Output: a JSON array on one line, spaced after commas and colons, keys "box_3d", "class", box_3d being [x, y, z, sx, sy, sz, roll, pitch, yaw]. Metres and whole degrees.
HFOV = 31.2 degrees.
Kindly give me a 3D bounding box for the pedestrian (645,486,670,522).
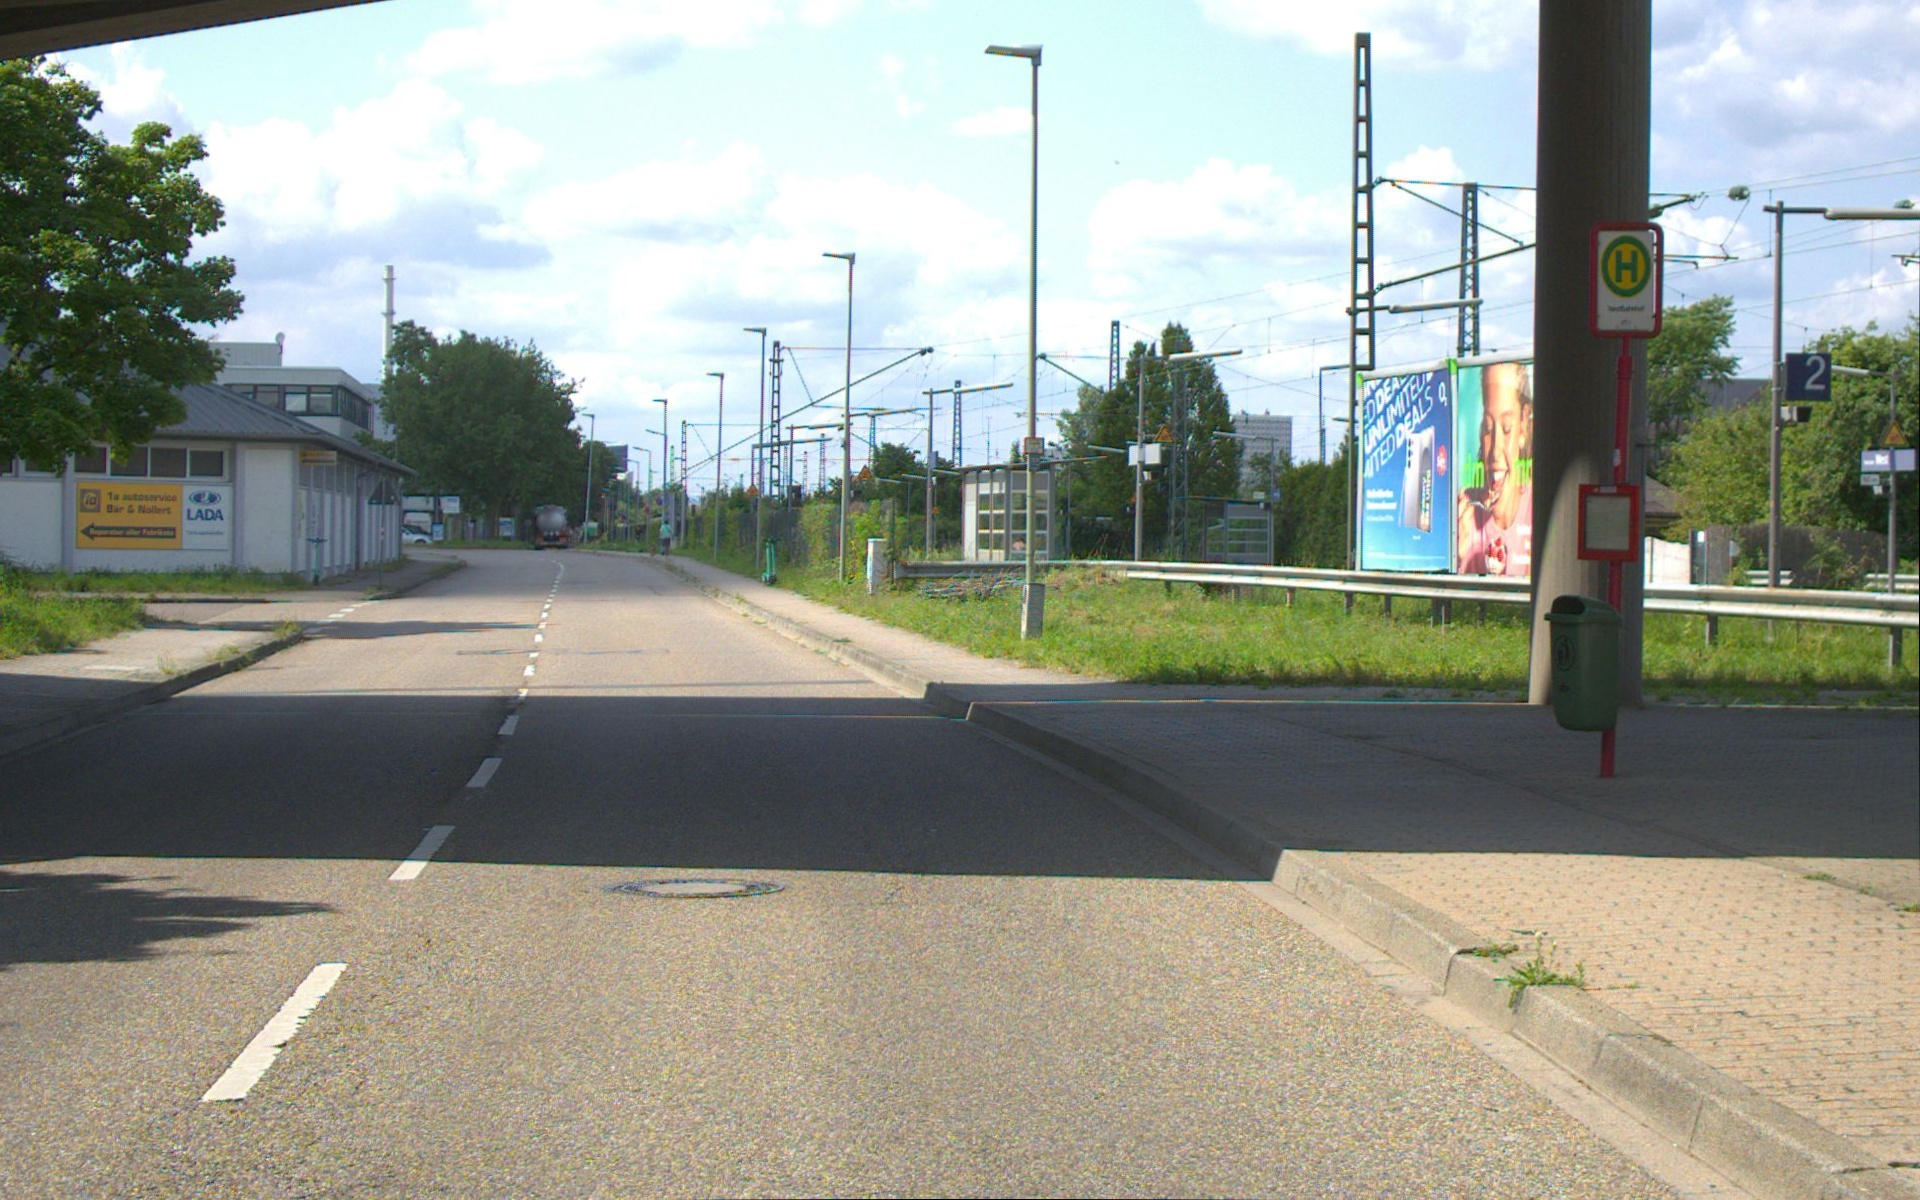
[{"box_3d": [-17.336, -5.474, 196.880, 0.851, 2.007, 1.057, 3, 2, 44], "class": "pedestrian"}]
